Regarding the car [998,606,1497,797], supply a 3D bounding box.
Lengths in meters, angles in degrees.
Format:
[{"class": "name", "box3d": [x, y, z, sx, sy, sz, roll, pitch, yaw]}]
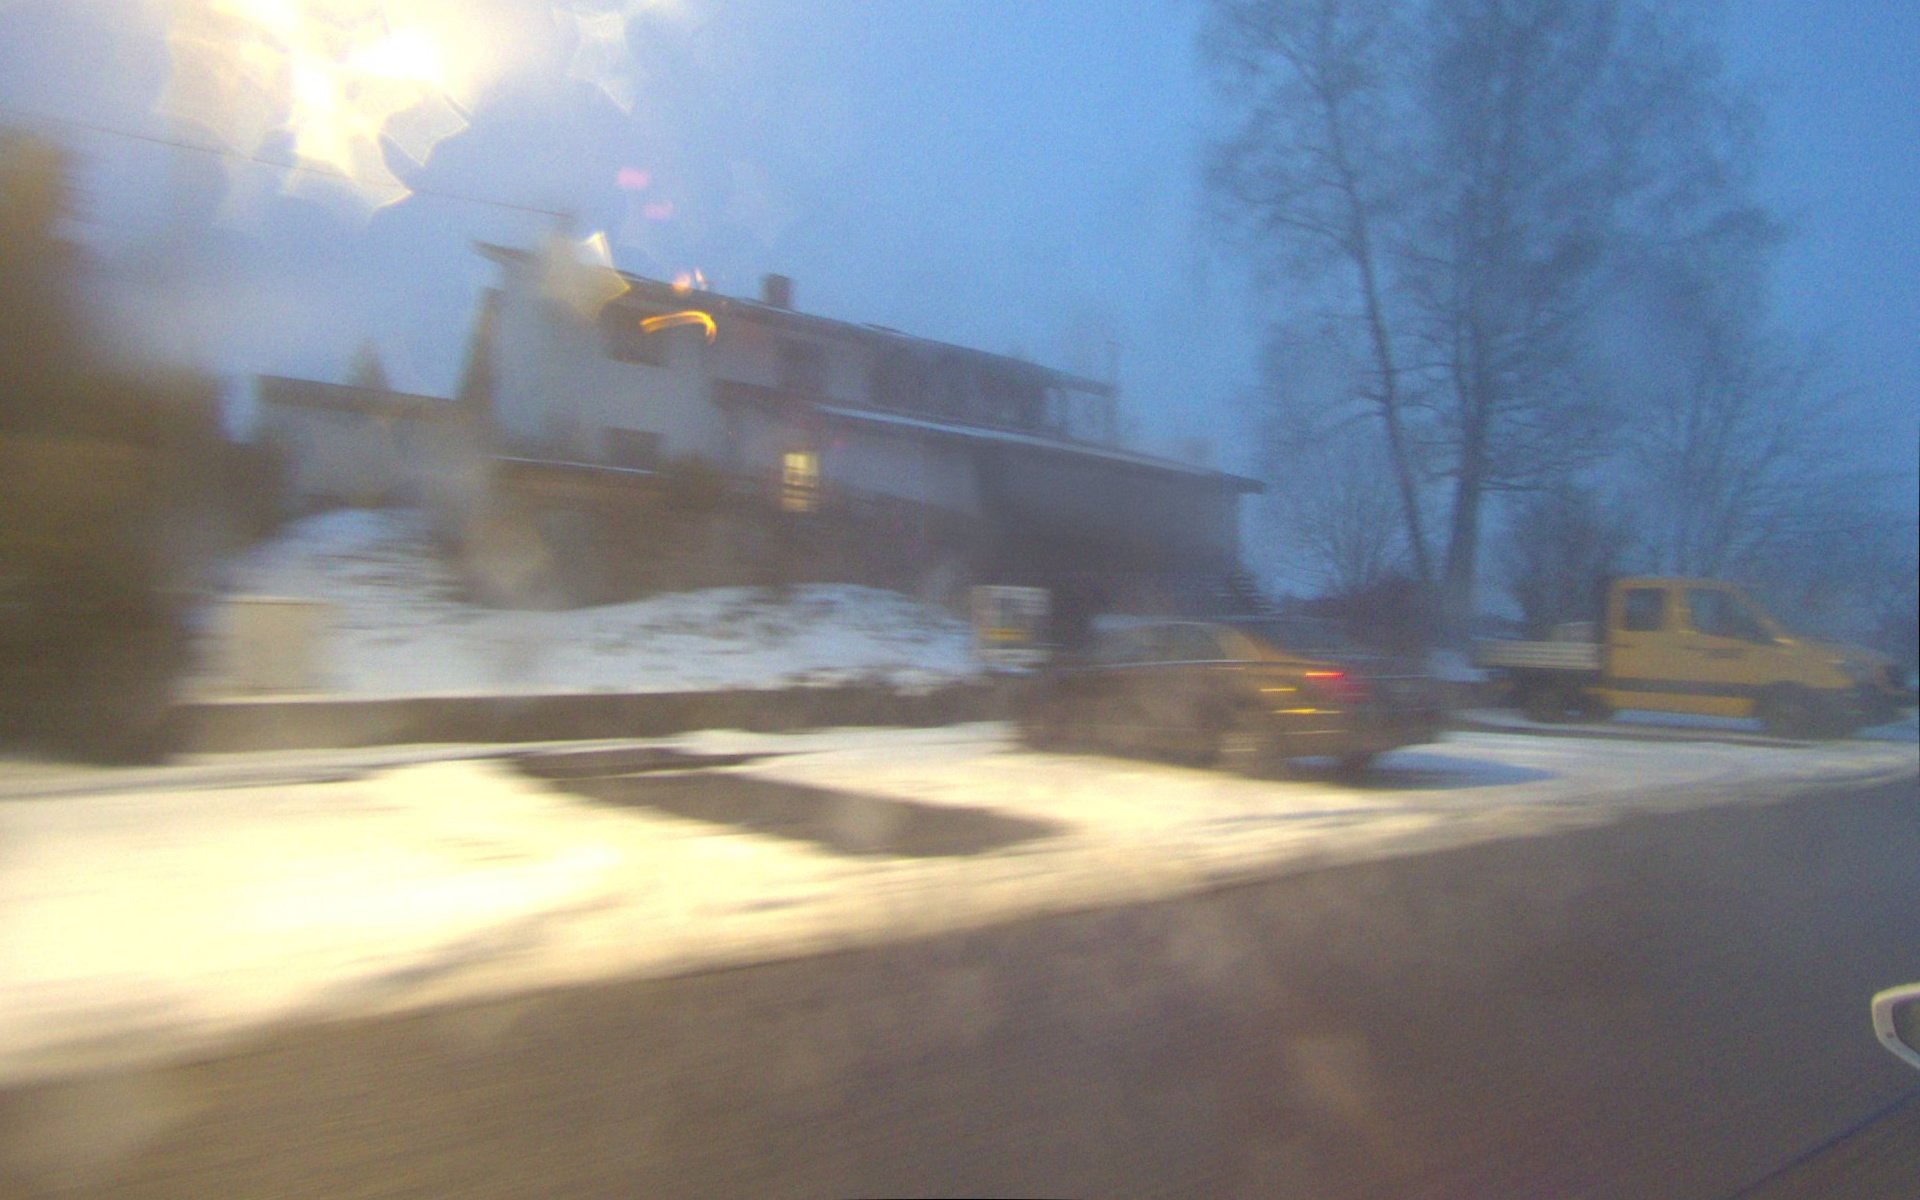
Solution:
[{"class": "car", "box3d": [2.662, 0.914, 10.569, 2.101, 1.504, 4.858, 1, -3, -34]}]

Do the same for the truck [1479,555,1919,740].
[{"class": "truck", "box3d": [11.085, 0.717, 15.391, 1.980, 2.333, 5.229, 1, -3, -34]}]
